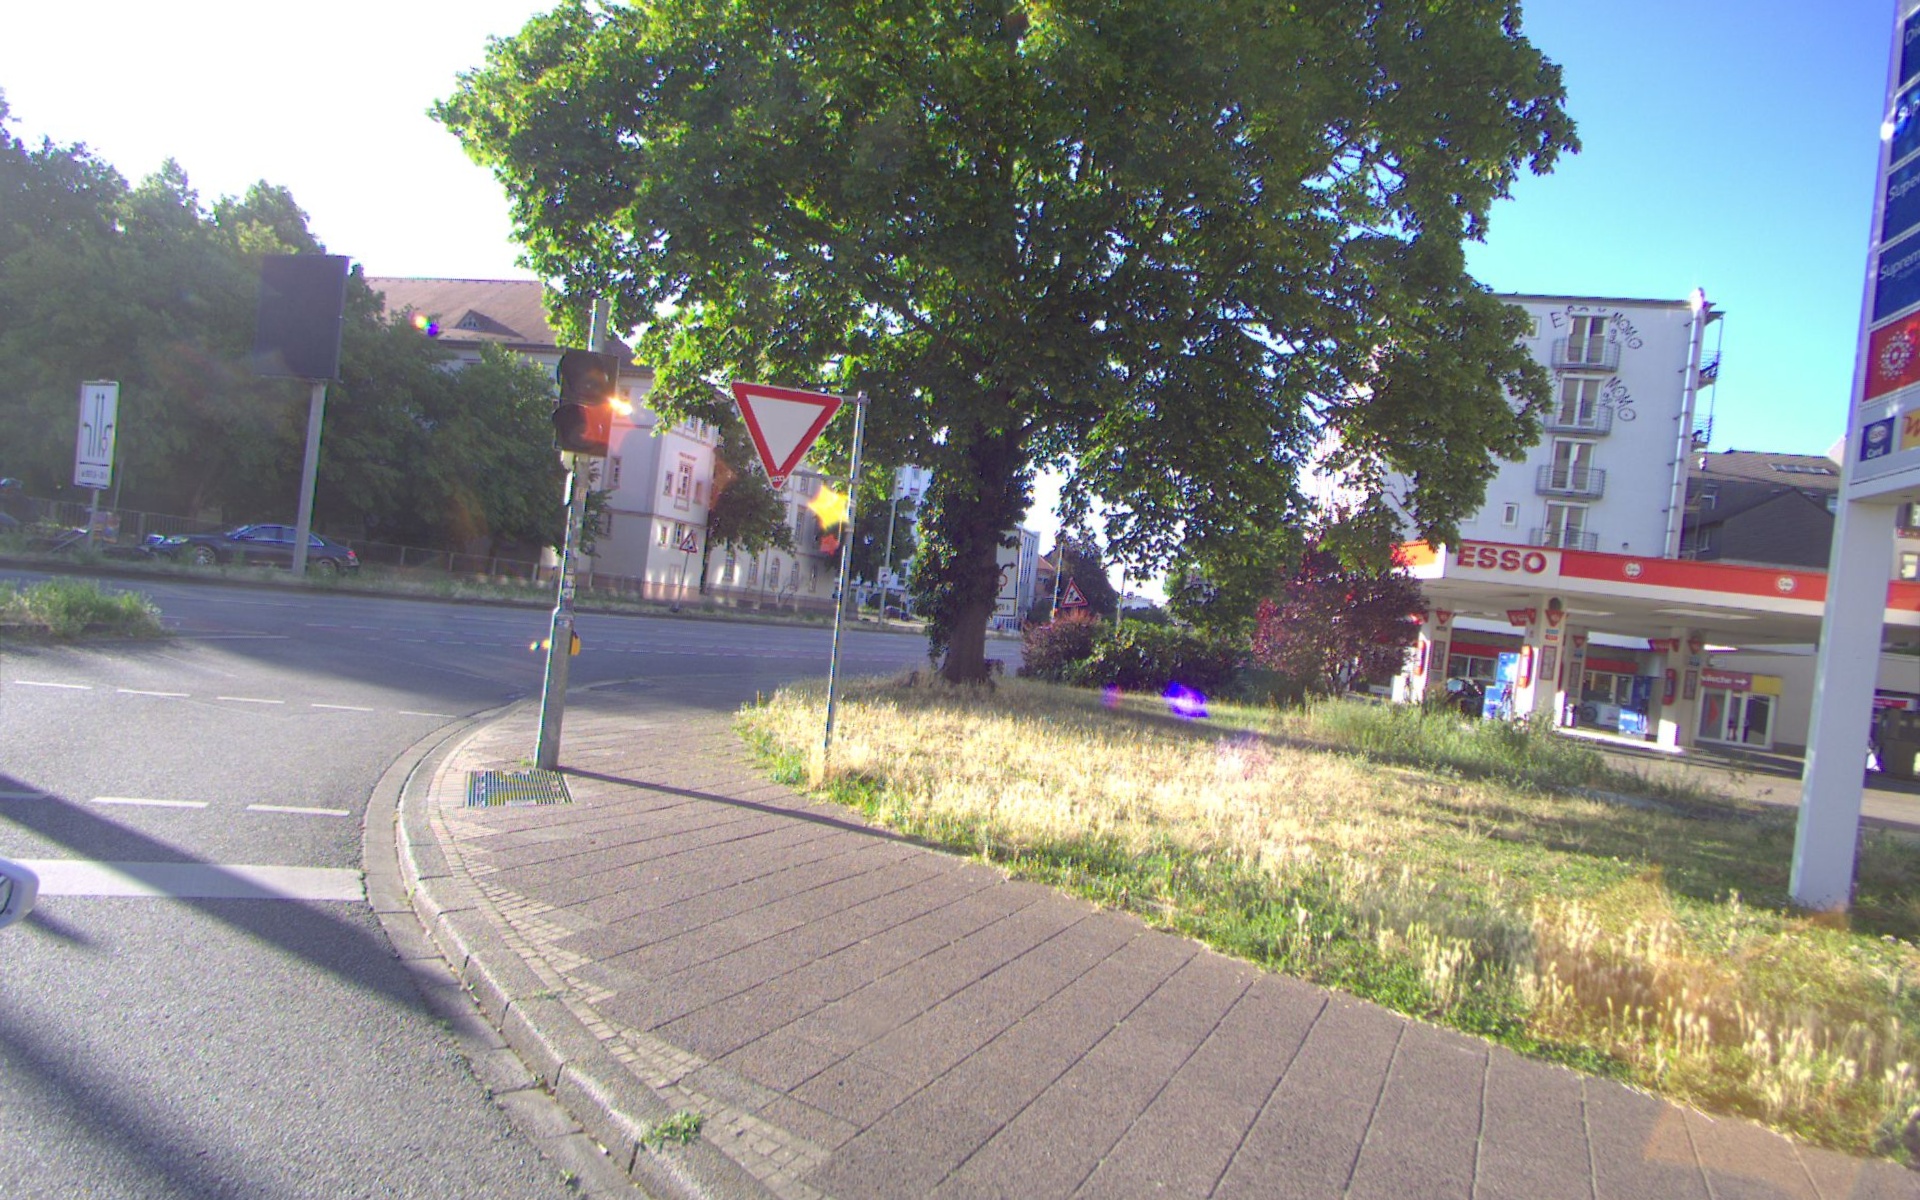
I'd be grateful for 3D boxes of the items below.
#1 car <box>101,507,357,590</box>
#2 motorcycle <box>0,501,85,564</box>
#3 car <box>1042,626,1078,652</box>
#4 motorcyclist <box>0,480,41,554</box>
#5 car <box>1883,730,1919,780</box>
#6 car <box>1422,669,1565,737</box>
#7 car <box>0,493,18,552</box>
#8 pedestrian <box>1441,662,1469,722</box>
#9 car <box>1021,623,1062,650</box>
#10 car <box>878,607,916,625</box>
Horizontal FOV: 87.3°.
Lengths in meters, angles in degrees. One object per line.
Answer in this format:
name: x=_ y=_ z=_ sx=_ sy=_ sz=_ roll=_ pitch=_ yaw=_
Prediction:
car: x=-19.812 y=-1.326 z=27.604 sx=1.965 sy=1.513 sz=5.288 roll=7 pitch=-1 yaw=27
motorcycle: x=-19.567 y=-1.463 z=20.471 sx=0.847 sy=1.121 sz=2.465 roll=7 pitch=-1 yaw=32
car: x=7.336 y=2.884 z=73.596 sx=1.721 sy=1.583 sz=4.052 roll=7 pitch=-1 yaw=17
motorcyclist: x=-19.552 y=-1.735 z=20.416 sx=0.840 sy=1.415 sz=1.059 roll=7 pitch=0 yaw=33
car: x=31.168 y=5.062 z=31.306 sx=1.718 sy=1.437 sz=4.259 roll=7 pitch=-1 yaw=15
car: x=16.078 y=3.056 z=30.585 sx=1.964 sy=1.371 sz=3.996 roll=7 pitch=1 yaw=-2
car: x=-26.383 y=-2.248 z=24.899 sx=1.827 sy=1.481 sz=3.997 roll=7 pitch=-1 yaw=26
pedestrian: x=14.784 y=2.730 z=30.065 sx=0.413 sy=1.726 sz=0.420 roll=6 pitch=0 yaw=-2
car: x=5.472 y=2.458 z=67.107 sx=1.721 sy=1.583 sz=4.052 roll=7 pitch=-1 yaw=17
car: x=-7.208 y=1.825 z=115.204 sx=3.748 sy=1.547 sz=1.866 roll=6 pitch=-3 yaw=13
